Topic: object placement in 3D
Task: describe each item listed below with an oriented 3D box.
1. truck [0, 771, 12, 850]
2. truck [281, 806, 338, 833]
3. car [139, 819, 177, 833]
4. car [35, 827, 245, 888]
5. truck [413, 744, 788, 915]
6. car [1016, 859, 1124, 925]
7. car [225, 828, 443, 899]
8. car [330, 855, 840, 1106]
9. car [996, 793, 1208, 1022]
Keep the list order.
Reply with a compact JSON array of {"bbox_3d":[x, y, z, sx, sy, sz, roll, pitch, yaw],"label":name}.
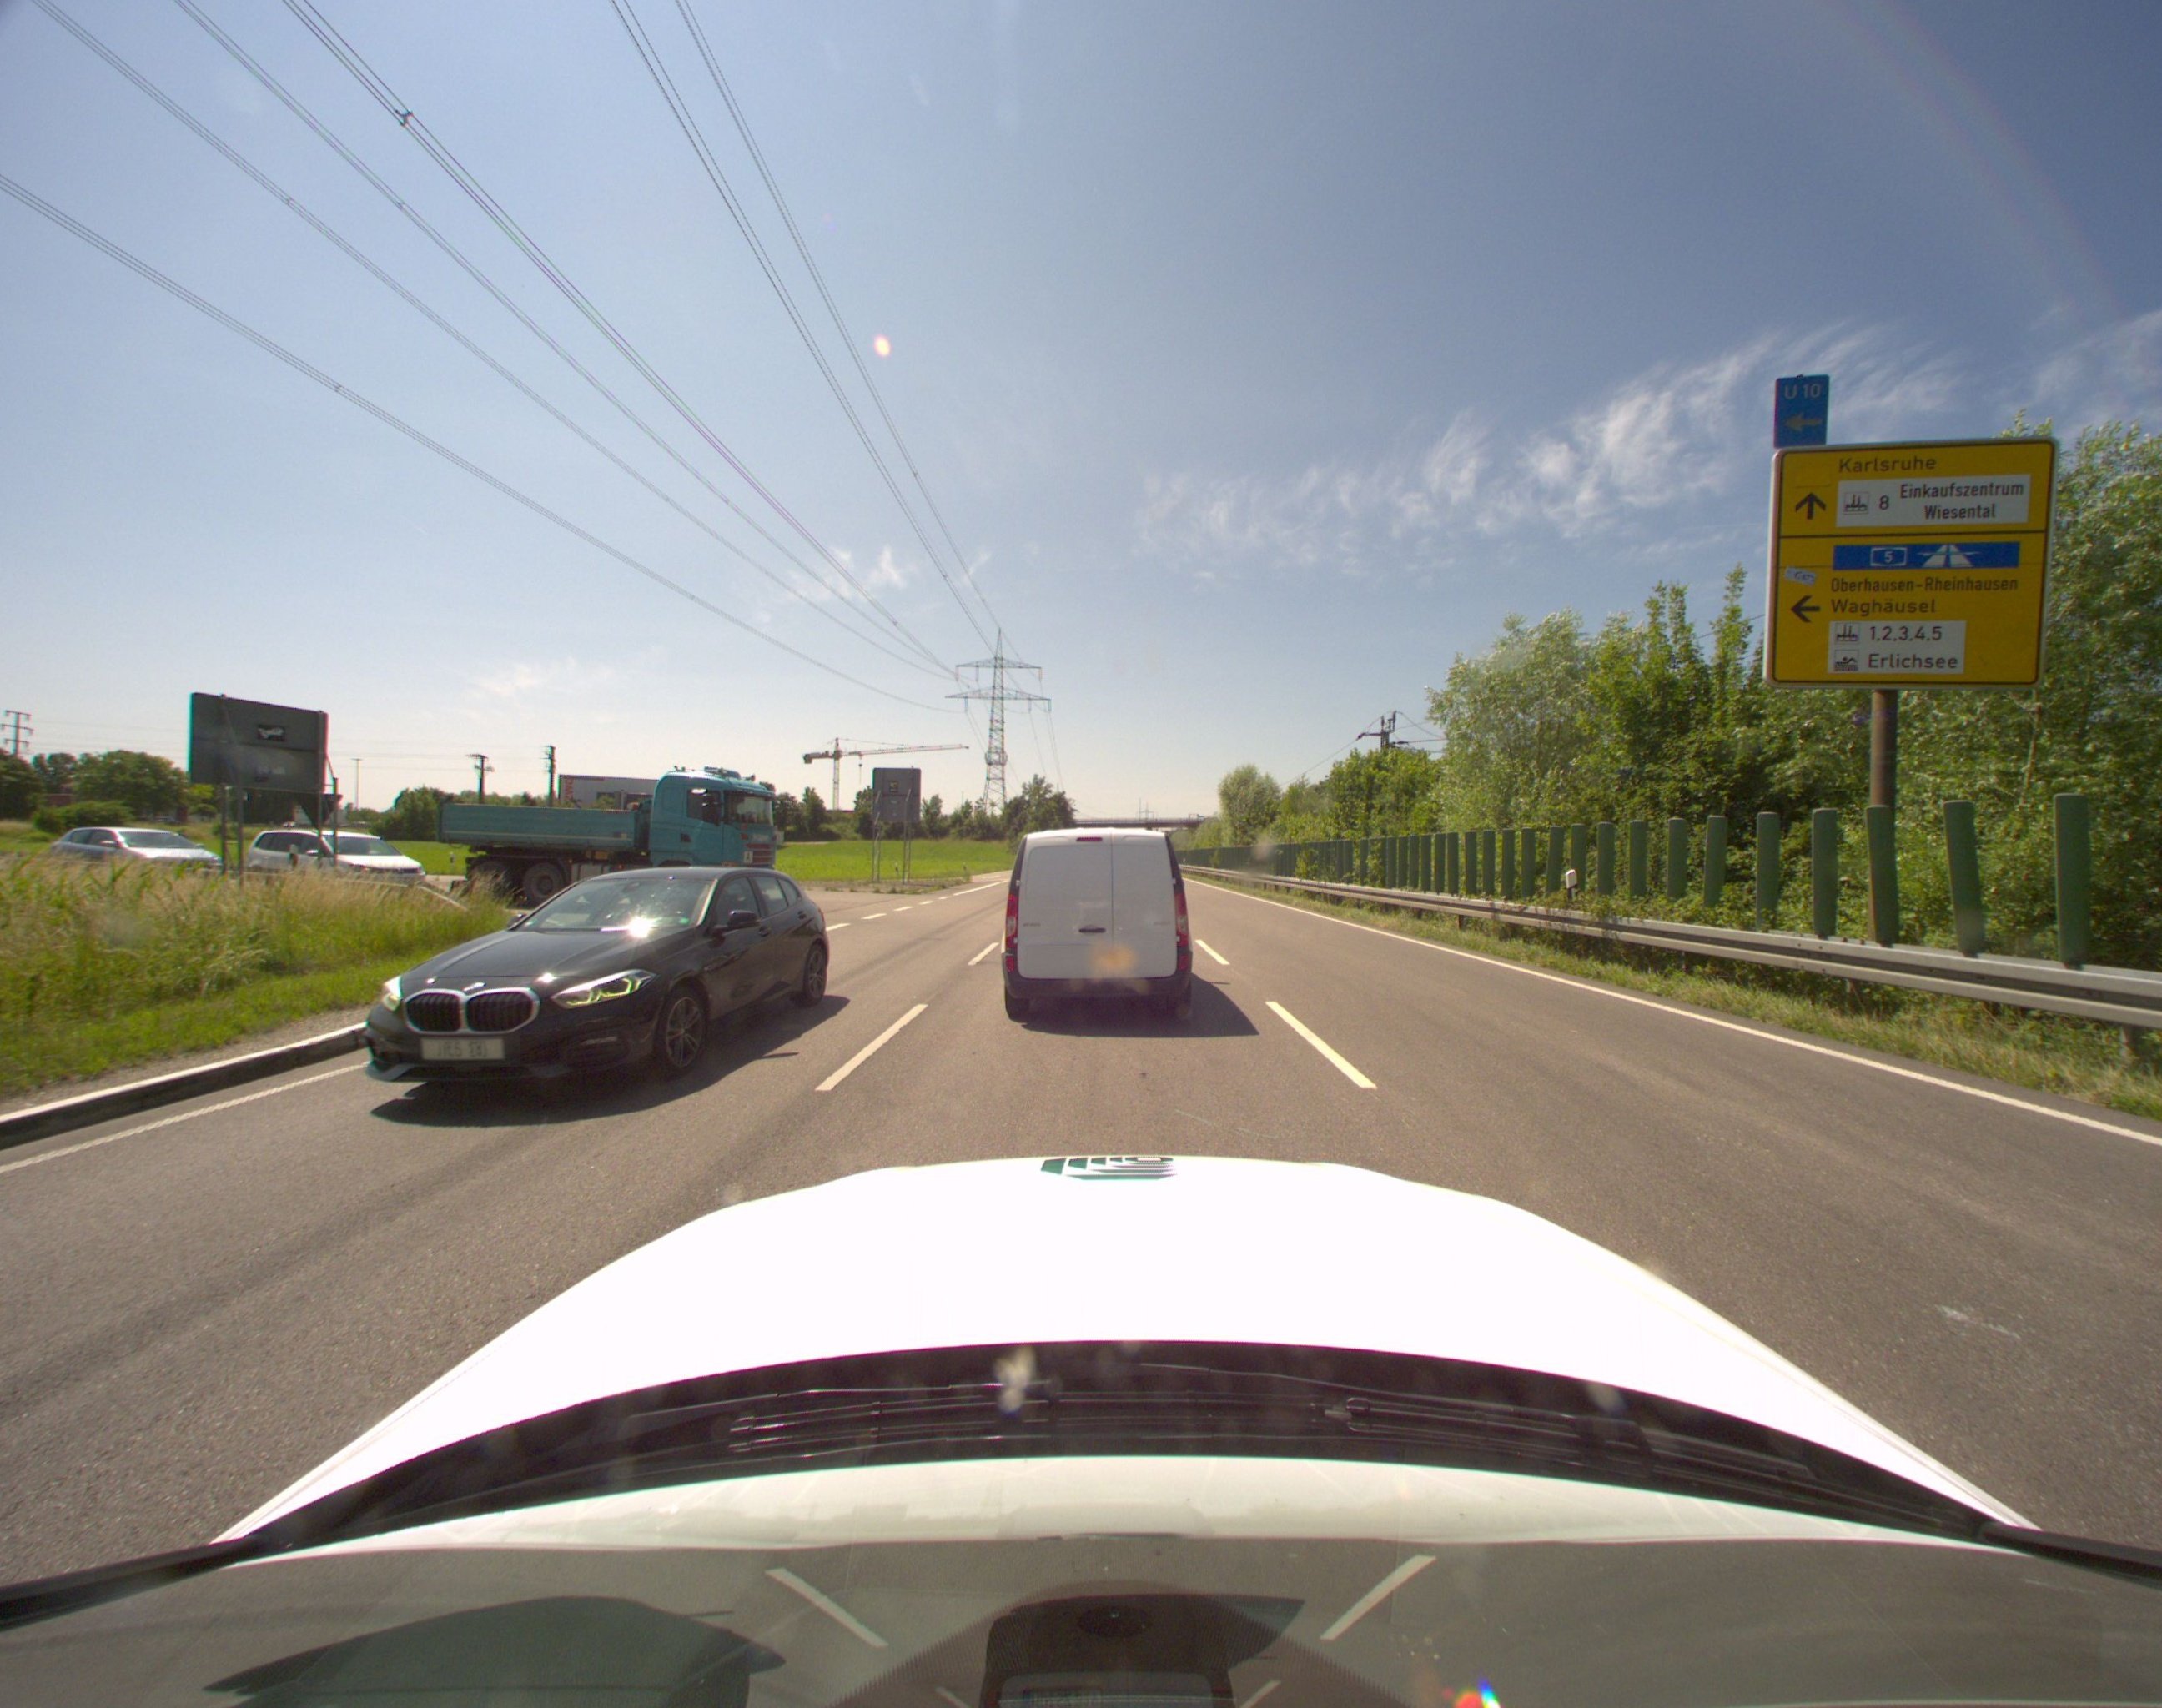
[{"bbox_3d":[-49.628,-1.807,33.334,9.611,3.288,2.837,0,0,9],"label":"truck"},{"bbox_3d":[-144.955,-6.342,153.229,3.696,4.646,13.130,1,0,-25],"label":"truck"},{"bbox_3d":[-124.511,-3.775,109.874,2.004,1.679,3.965,1,0,-27],"label":"car"},{"bbox_3d":[-25.163,0.080,21.811,4.402,1.470,1.724,1,0,12],"label":"car"},{"bbox_3d":[-11.820,-0.599,20.437,7.870,3.734,2.500,2,0,3],"label":"truck"},{"bbox_3d":[-0.417,0.840,19.952,1.857,1.396,4.636,1,0,-11],"label":"car"},{"bbox_3d":[-19.063,0.203,20.840,4.507,1.612,1.976,1,0,16],"label":"car"},{"bbox_3d":[-3.584,0.767,6.911,1.775,1.464,4.001,-1,0,1],"label":"car"},{"bbox_3d":[0.224,0.464,9.067,1.820,1.971,4.001,0,0,1],"label":"car"}]
